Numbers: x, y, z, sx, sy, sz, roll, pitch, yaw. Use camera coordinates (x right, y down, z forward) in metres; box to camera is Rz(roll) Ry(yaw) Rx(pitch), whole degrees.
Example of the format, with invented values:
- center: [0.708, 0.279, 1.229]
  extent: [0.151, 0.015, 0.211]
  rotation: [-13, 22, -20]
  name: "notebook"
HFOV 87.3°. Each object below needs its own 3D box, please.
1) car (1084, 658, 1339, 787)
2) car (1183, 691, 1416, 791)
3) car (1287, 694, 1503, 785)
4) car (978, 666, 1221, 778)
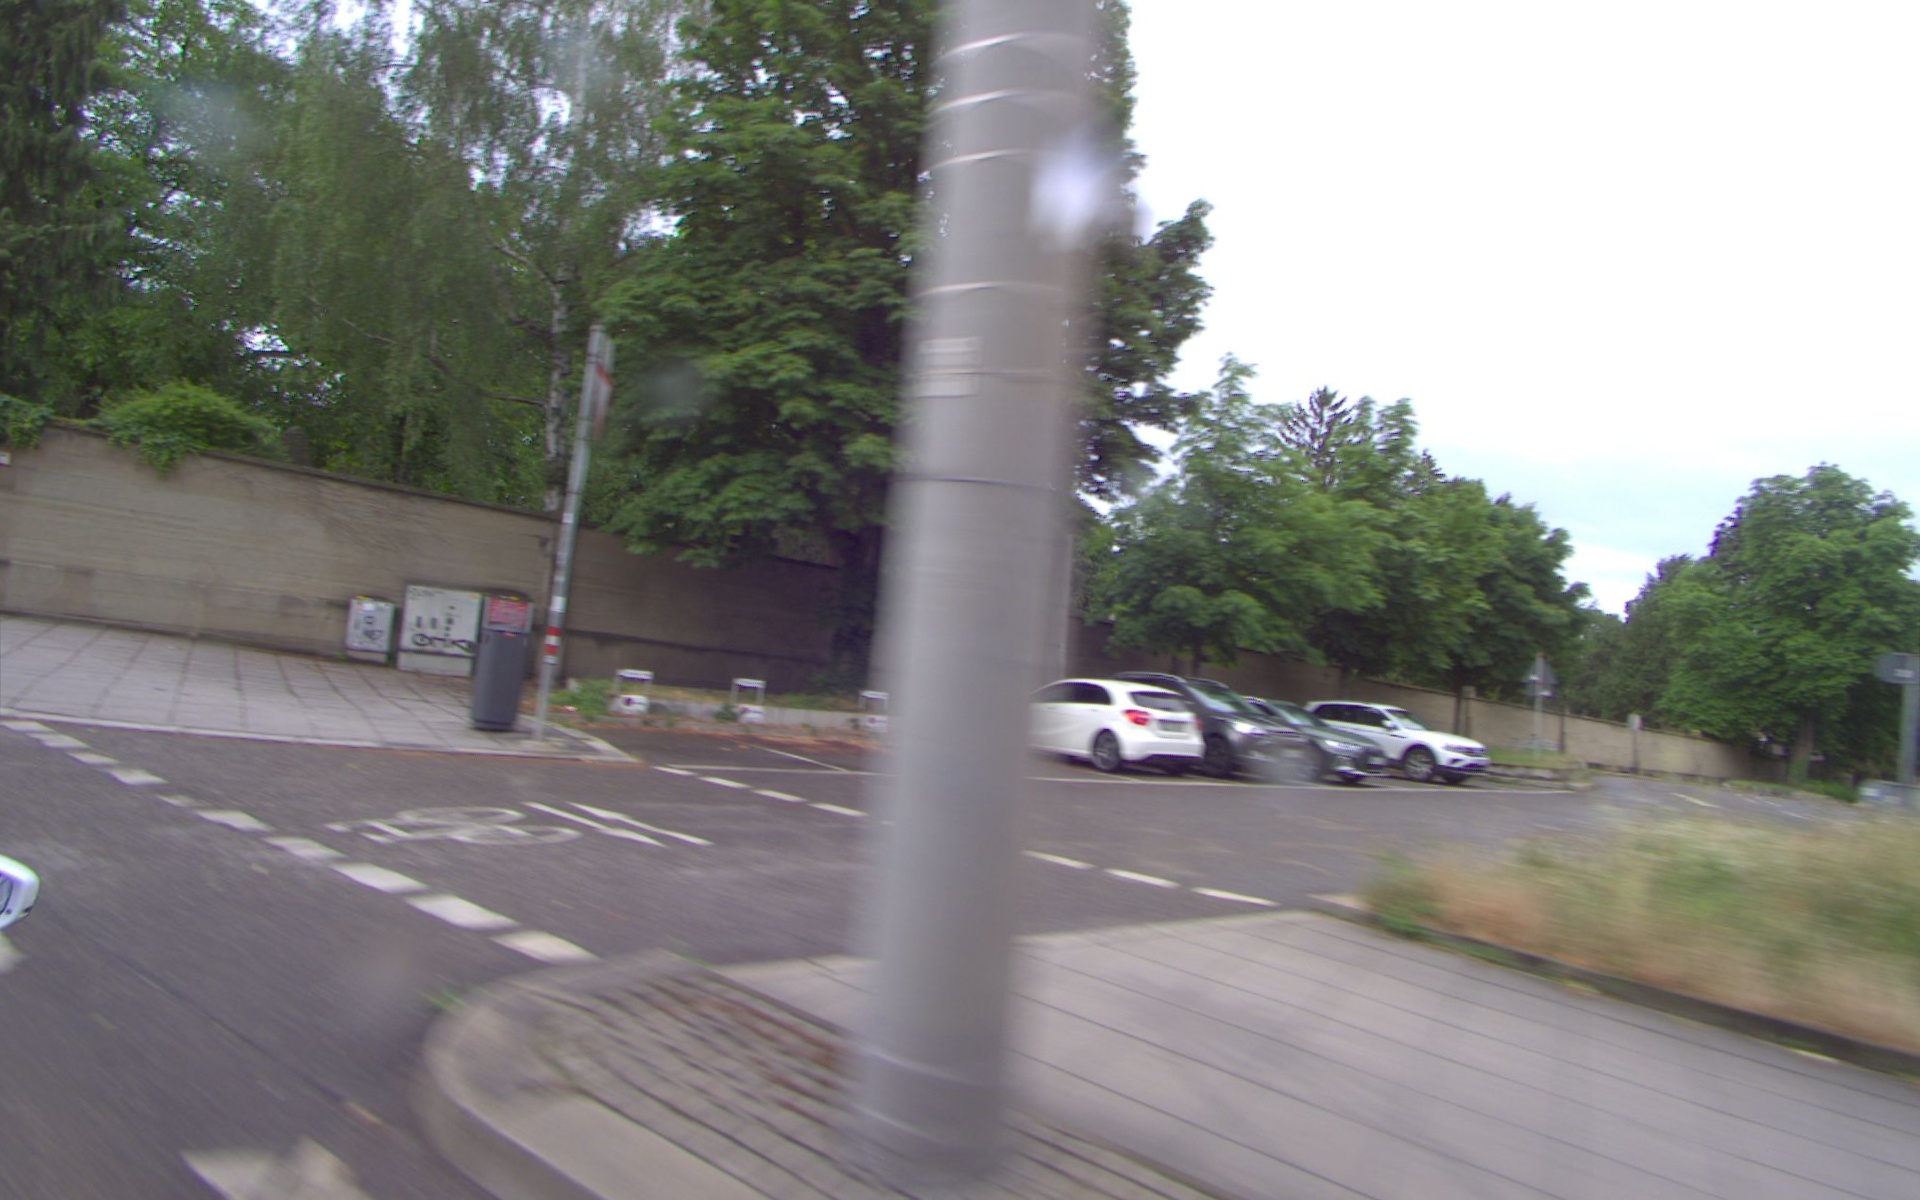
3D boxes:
- center: [4.393, 2.126, 18.162]
  extent: [1.744, 1.822, 4.237]
  rotation: [9, -5, -35]
  name: "car"
- center: [6.491, 2.696, 19.624]
  extent: [1.774, 1.406, 3.967]
  rotation: [9, -5, -35]
  name: "car"
- center: [9.855, 3.143, 23.062]
  extent: [1.774, 1.573, 4.184]
  rotation: [8, -5, -35]
  name: "car"
- center: [2.233, 2.005, 17.064]
  extent: [1.744, 1.421, 3.966]
  rotation: [9, -5, -35]
  name: "car"
